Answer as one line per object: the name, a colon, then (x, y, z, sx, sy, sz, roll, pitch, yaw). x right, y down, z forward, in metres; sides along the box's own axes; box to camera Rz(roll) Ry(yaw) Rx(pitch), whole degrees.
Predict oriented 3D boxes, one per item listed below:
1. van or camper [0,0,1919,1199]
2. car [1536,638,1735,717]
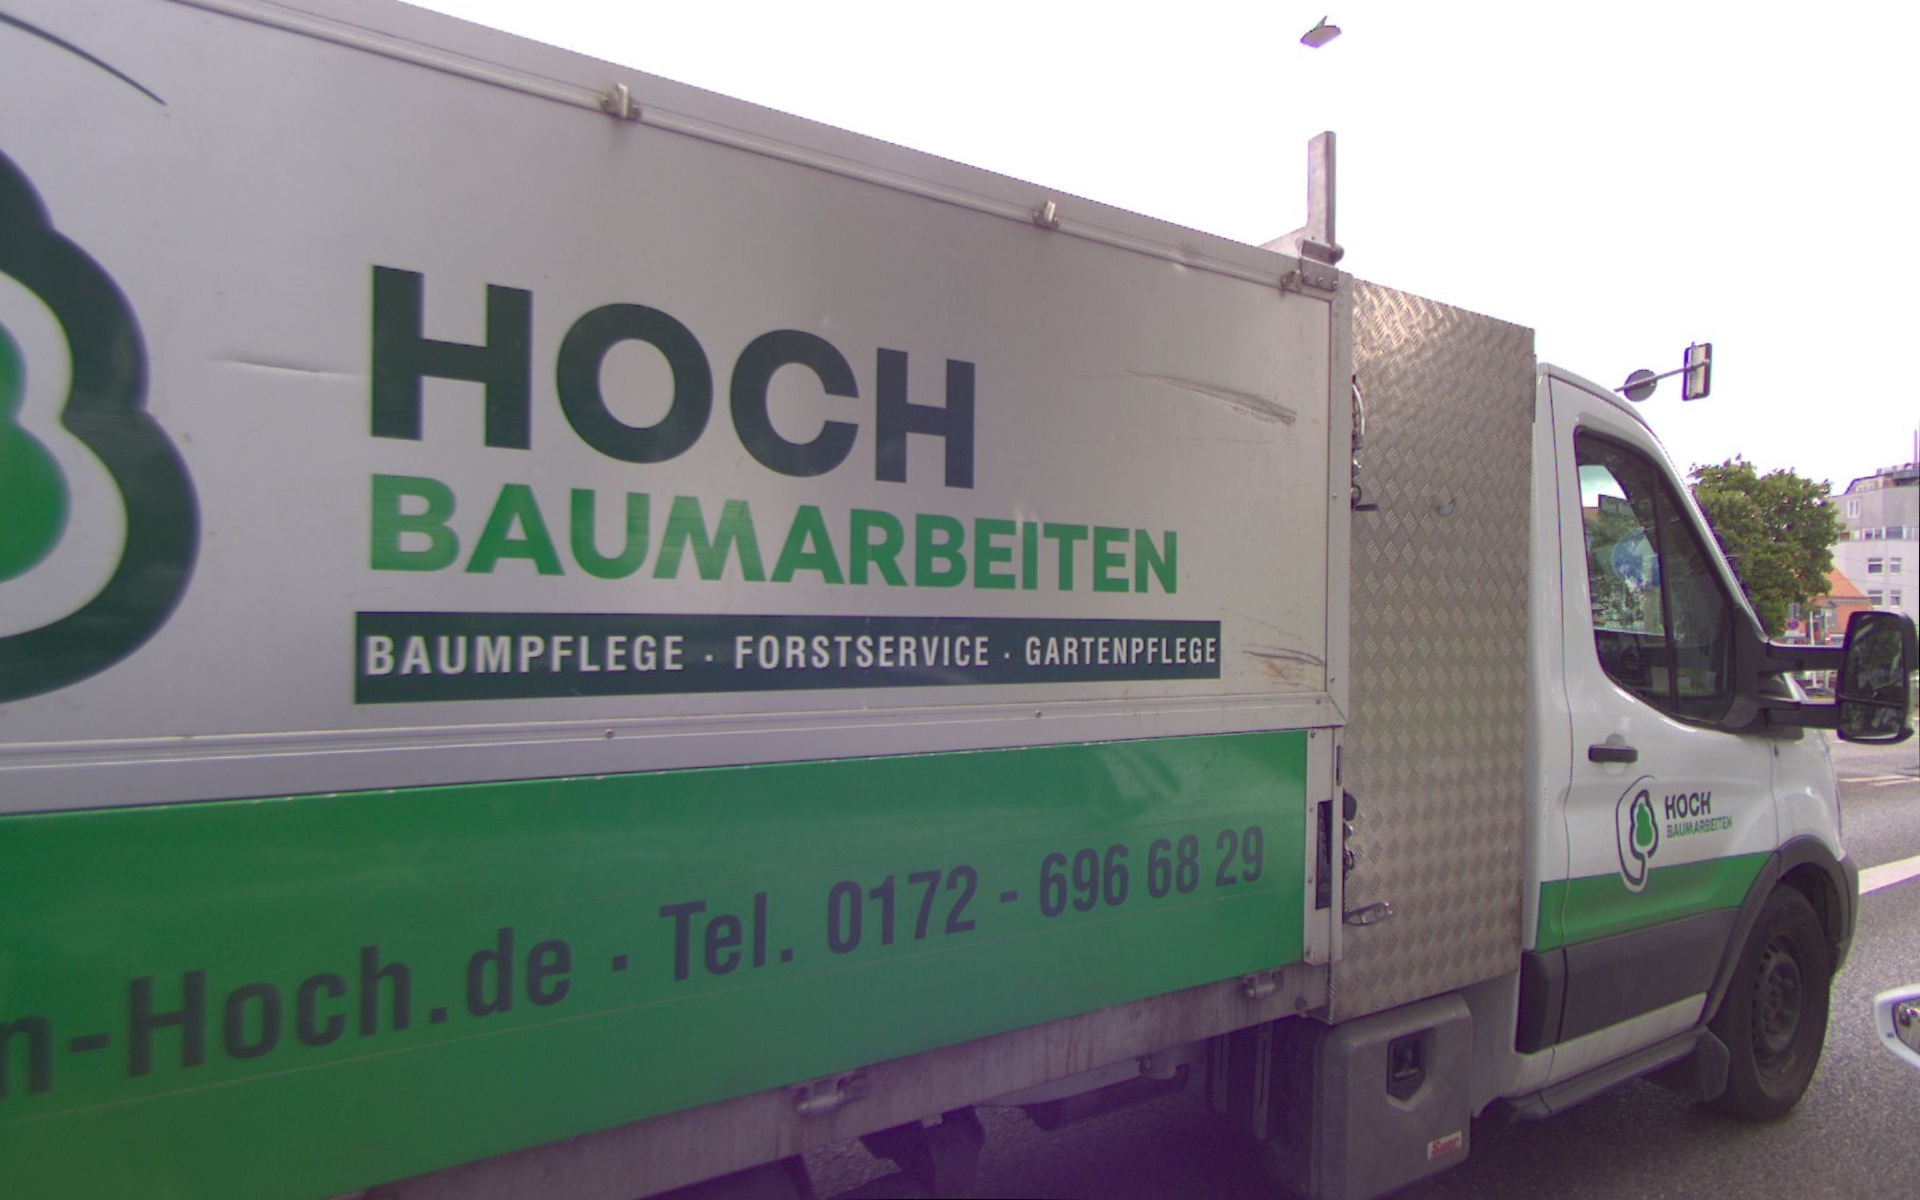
van or camper: (0.070, 0.204, 2.685, 5.901, 2.697, 2.329, 2, -1, -33)
car: (13.817, 1.516, 20.523, 3.953, 1.447, 1.853, 1, -2, -30)
